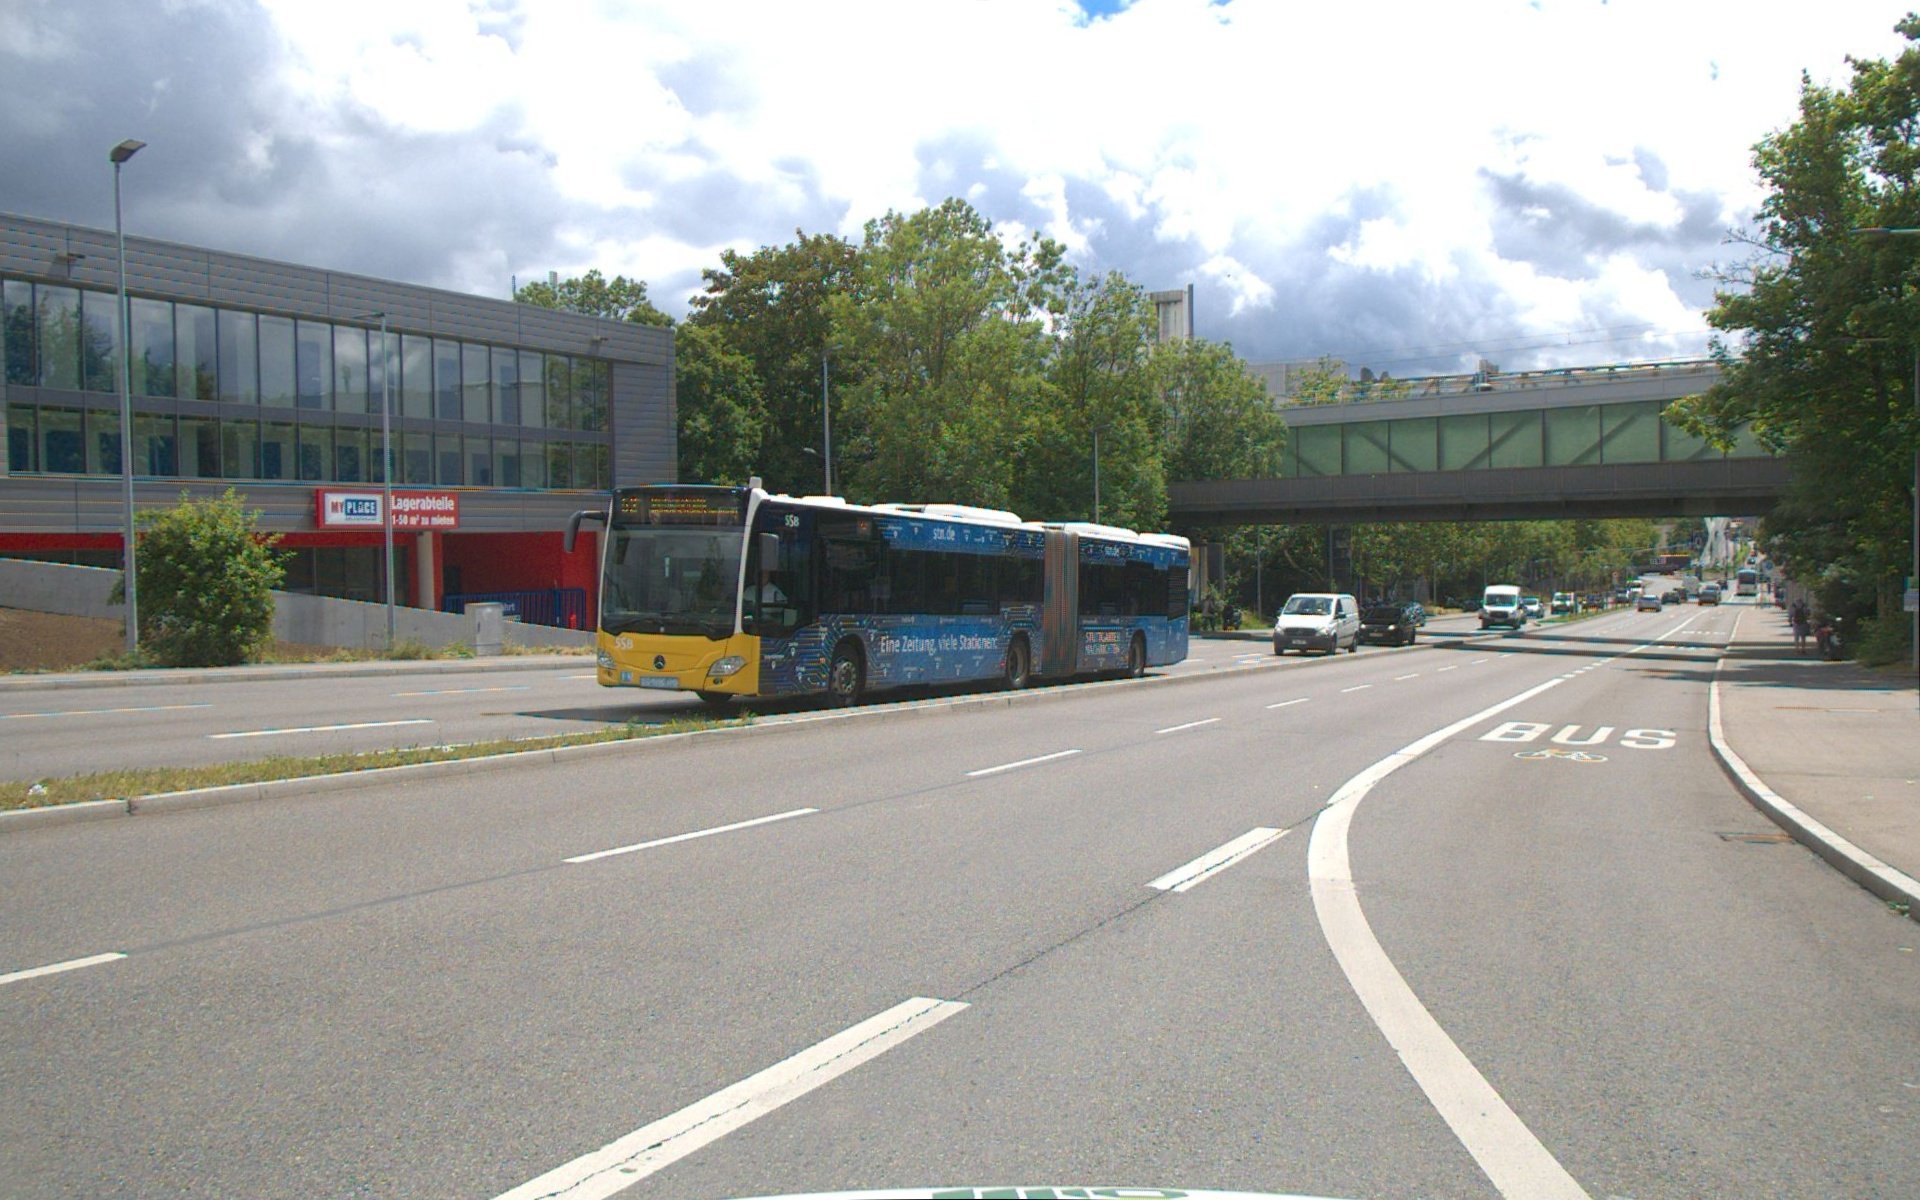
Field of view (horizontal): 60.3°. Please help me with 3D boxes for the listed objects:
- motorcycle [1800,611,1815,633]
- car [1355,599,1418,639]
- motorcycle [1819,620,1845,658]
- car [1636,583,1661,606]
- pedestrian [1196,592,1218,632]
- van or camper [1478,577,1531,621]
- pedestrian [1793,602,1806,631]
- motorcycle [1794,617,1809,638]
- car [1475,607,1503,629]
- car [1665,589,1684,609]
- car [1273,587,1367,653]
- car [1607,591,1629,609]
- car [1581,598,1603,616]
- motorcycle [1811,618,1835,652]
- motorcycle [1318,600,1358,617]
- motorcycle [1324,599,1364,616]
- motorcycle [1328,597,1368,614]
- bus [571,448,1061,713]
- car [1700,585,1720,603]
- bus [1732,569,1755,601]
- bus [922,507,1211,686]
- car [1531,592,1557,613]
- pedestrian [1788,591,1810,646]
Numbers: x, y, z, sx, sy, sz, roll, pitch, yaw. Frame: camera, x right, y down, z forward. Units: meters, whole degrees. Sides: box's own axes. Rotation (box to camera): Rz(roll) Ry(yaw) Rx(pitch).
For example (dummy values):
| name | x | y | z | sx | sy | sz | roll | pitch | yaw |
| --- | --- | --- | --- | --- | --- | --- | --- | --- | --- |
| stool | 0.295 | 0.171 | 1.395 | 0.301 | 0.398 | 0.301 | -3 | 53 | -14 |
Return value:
| name | x | y | z | sx | sy | sz | roll | pitch | yaw |
| --- | --- | --- | --- | --- | --- | --- | --- | --- | --- |
| motorcycle | 42.758 | 1.094 | 83.448 | 0.552 | 1.047 | 2.627 | -1 | 0 | 25 |
| car | 16.516 | 0.713 | 63.914 | 1.605 | 1.496 | 3.772 | 1 | 0 | 26 |
| motorcycle | 26.723 | 1.194 | 50.708 | 0.536 | 1.130 | 2.017 | 0 | -1 | 23 |
| car | 62.223 | -0.494 | 149.401 | 1.892 | 1.802 | 3.998 | 0 | 4 | 26 |
| pedestrian | 10.919 | 0.535 | 73.173 | 0.710 | 1.650 | 0.720 | 5 | 5 | 25 |
| van or camper | 31.306 | -0.064 | 94.982 | 1.969 | 2.443 | 6.391 | 0 | 0 | 27 |
| pedestrian | 49.116 | 0.973 | 96.770 | 0.608 | 1.646 | 0.746 | 0 | 4 | 25 |
| motorcycle | 44.477 | 1.439 | 87.423 | 0.552 | 1.047 | 2.627 | -1 | 0 | 25 |
| car | 39.264 | 1.305 | 122.671 | 1.666 | 1.578 | 3.923 | 1 | 0 | 23 |
| car | 76.889 | -0.131 | 177.902 | 1.820 | 1.734 | 4.000 | 0 | 5 | 25 |
| car | 11.470 | 0.600 | 52.514 | 1.840 | 1.958 | 4.746 | 1 | 0 | 26 |
| car | 74.541 | -0.022 | 187.306 | 1.954 | 2.049 | 3.996 | 0 | 0 | 26 |
| car | 62.257 | 0.731 | 162.890 | 1.667 | 1.728 | 3.920 | 1 | 0 | 26 |
| motorcycle | 29.056 | 1.168 | 55.674 | 0.536 | 1.130 | 2.017 | 0 | -1 | 23 |
| motorcycle | 24.651 | 0.559 | 107.875 | 2.506 | 1.069 | 0.672 | 1 | 0 | 33 |
| motorcycle | 25.264 | 0.475 | 108.894 | 2.506 | 1.069 | 0.672 | 1 | 0 | 33 |
| motorcycle | 25.851 | 0.375 | 110.181 | 2.506 | 1.069 | 0.672 | 1 | 0 | 33 |
| bus | -1.691 | -0.198 | 25.995 | 2.761 | 3.343 | 10.108 | 1 | 0 | 27 |
| car | 79.927 | -0.582 | 176.240 | 1.954 | 1.892 | 3.997 | 0 | 0 | 25 |
| bus | 107.449 | -2.117 | 226.998 | 2.741 | 3.817 | 9.467 | 0 | 4 | 25 |
| bus | 2.506 | -0.096 | 34.485 | 2.761 | 3.219 | 8.898 | 1 | 0 | 27 |
| car | 48.726 | 0.219 | 137.993 | 1.667 | 1.728 | 3.921 | 1 | 0 | 26 |
| pedestrian | 29.121 | 0.650 | 57.425 | 0.610 | 1.891 | 0.872 | 0 | -1 | 24 |
